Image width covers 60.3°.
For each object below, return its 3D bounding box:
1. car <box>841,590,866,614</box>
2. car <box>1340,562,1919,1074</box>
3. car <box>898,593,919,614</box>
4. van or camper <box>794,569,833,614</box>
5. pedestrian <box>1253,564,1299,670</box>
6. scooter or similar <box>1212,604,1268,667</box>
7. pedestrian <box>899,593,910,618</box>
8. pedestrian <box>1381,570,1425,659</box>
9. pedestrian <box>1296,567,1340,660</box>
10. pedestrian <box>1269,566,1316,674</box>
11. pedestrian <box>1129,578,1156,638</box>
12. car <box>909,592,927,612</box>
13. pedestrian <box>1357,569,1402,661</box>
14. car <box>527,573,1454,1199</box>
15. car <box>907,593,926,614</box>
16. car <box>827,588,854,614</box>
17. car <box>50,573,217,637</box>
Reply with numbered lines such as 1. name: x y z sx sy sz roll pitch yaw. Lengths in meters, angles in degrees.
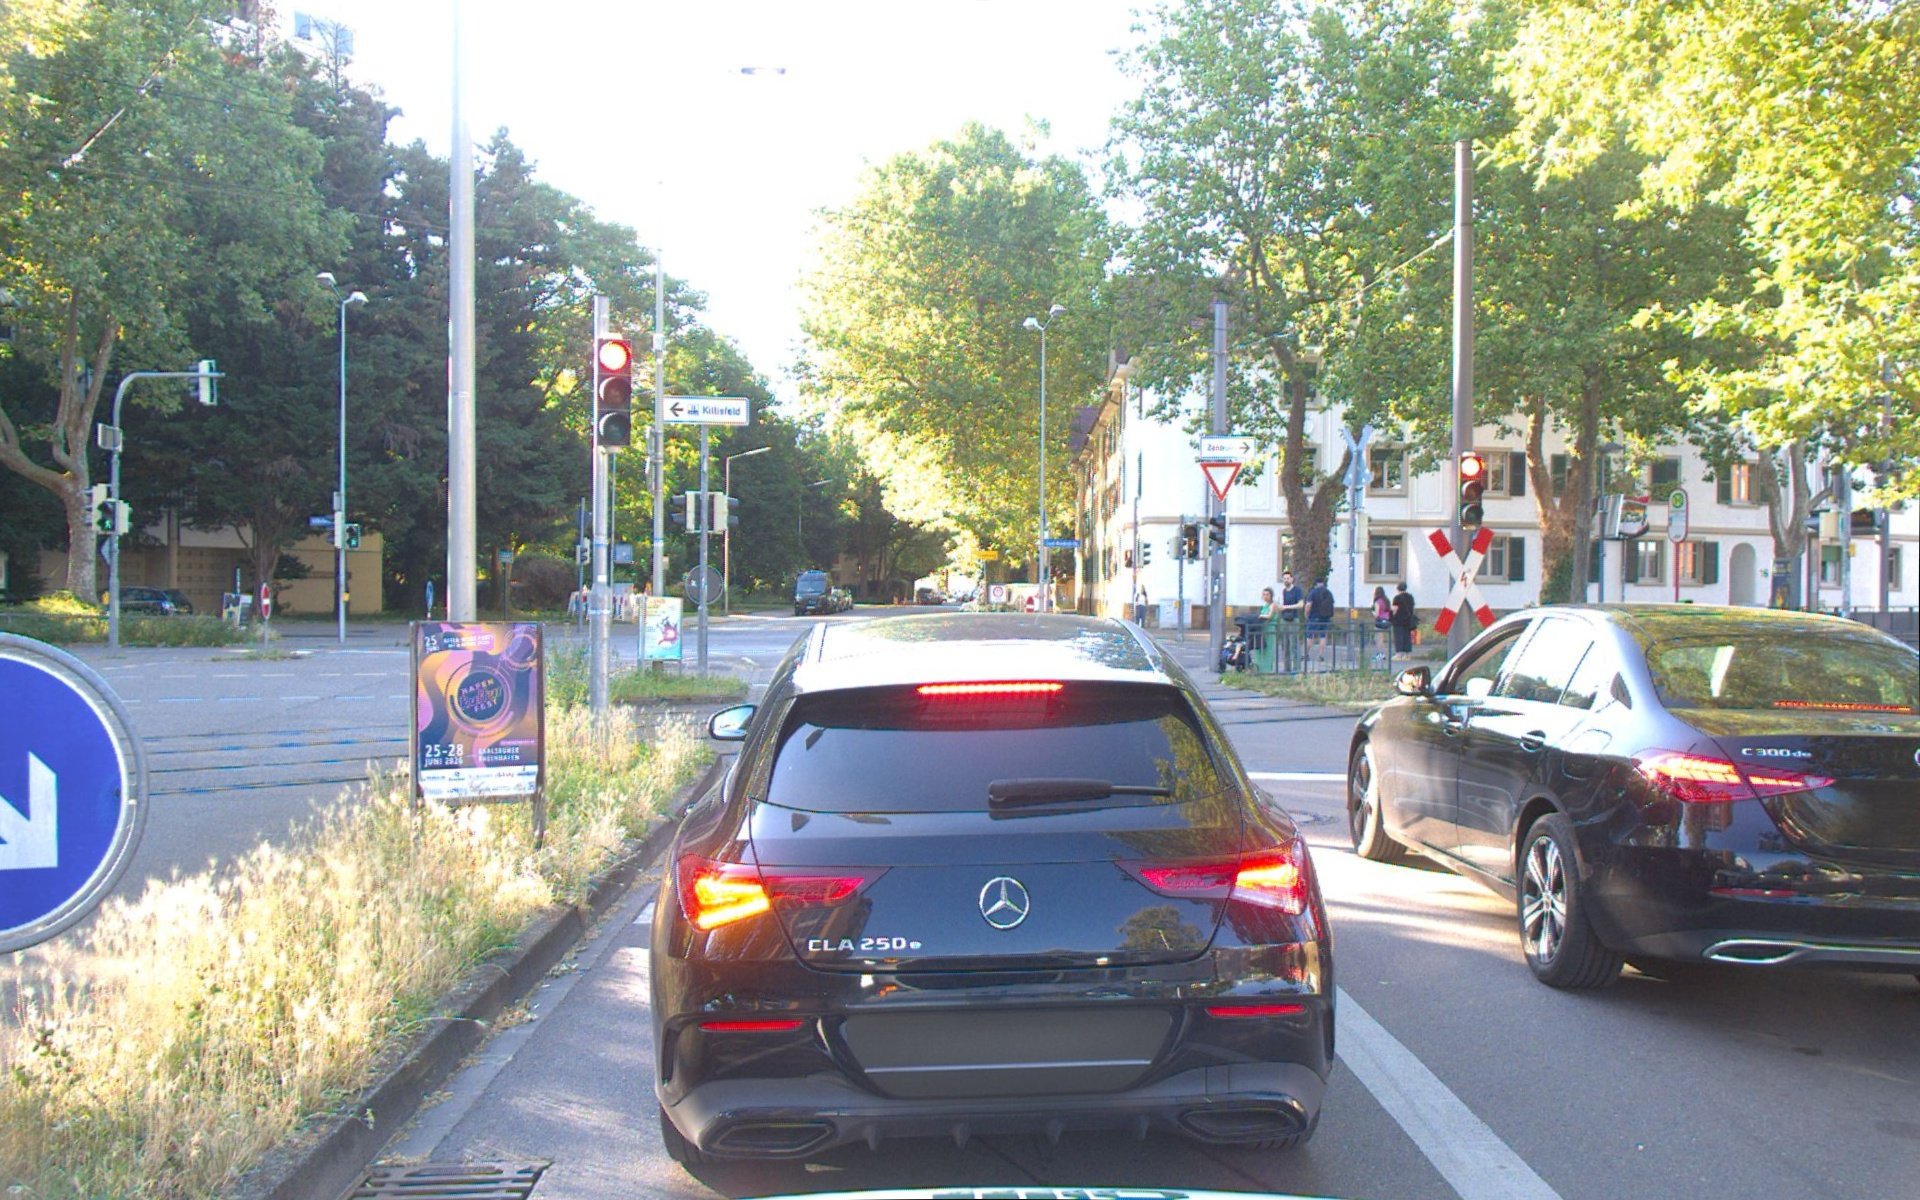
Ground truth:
1. car: -8.123 0.142 126.273 1.698 1.796 3.970 1 0 -1
2. car: 3.146 0.646 7.349 1.851 1.516 4.382 1 2 0
3. car: -4.518 0.346 145.485 1.698 1.796 4.018 1 0 -1
4. van or camper: -8.785 -0.487 99.608 1.953 2.586 4.650 1 0 -1
5. pedestrian: 5.915 0.309 30.971 0.669 1.951 0.706 1 -1 -5
6. scooter or similar: 5.140 0.645 30.391 0.812 1.124 0.808 1 0 -6
7. pedestrian: -4.355 0.452 129.949 0.692 1.951 0.837 1 -1 -11
8. pedestrian: 9.861 0.318 36.810 0.691 1.951 0.838 1 -1 -4
9. pedestrian: 7.668 0.289 35.439 0.691 1.951 0.838 1 -1 -4
10. pedestrian: 6.072 0.362 30.201 0.669 1.951 0.707 1 -1 -3
11. pedestrian: 5.968 0.260 54.153 0.691 1.951 0.838 1 -1 -4
12. car: -3.991 0.203 158.397 1.698 1.796 4.018 1 0 -1
13. pedestrian: 9.071 0.331 35.798 0.691 1.951 0.838 1 -1 -4
14. car: 0.075 0.716 5.345 1.851 1.475 4.001 1 2 0
15. car: -3.943 0.314 150.314 1.698 1.796 4.018 1 0 -1
16. car: -8.476 0.099 117.433 1.698 1.796 4.084 1 0 -1
17. car: -24.376 0.151 48.845 3.902 1.805 2.001 1 0 7
